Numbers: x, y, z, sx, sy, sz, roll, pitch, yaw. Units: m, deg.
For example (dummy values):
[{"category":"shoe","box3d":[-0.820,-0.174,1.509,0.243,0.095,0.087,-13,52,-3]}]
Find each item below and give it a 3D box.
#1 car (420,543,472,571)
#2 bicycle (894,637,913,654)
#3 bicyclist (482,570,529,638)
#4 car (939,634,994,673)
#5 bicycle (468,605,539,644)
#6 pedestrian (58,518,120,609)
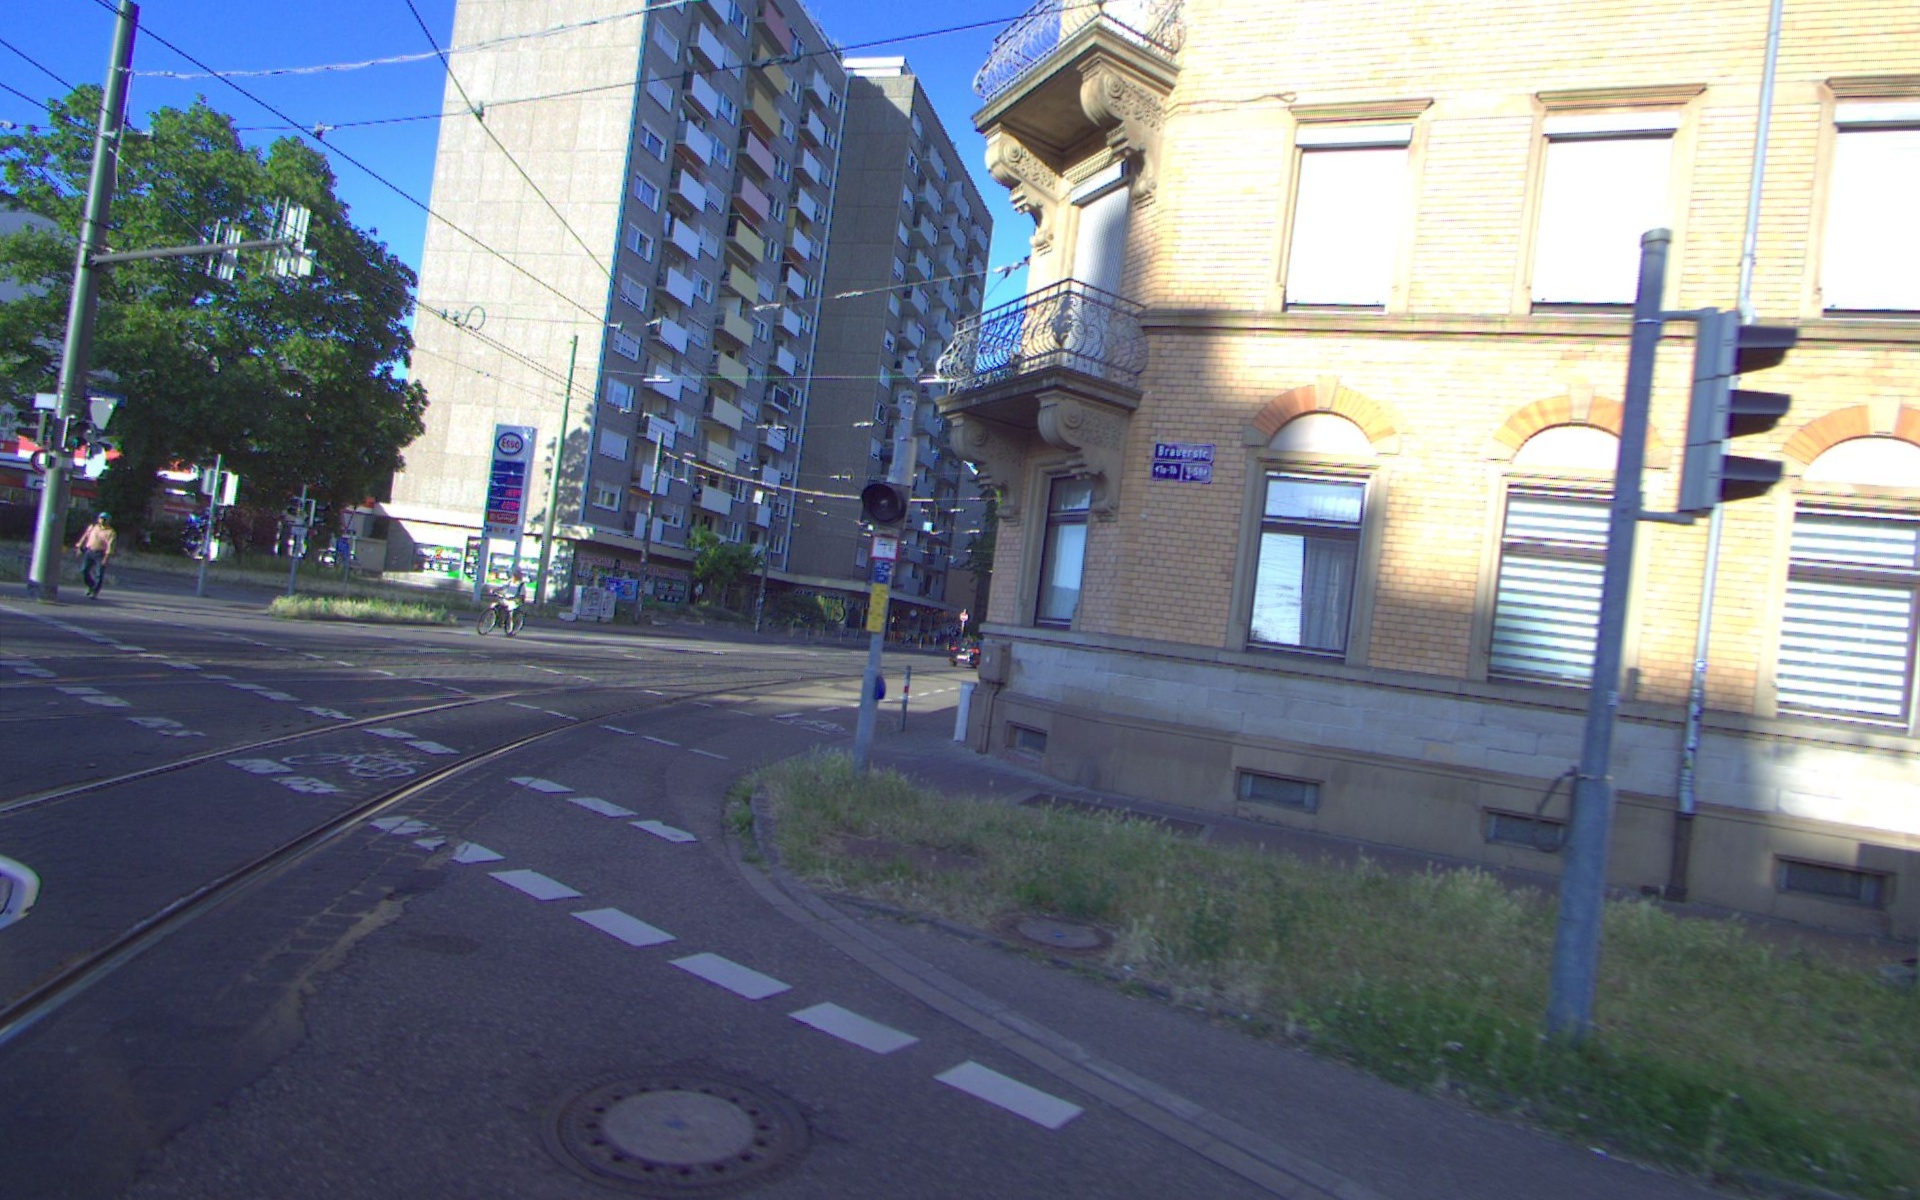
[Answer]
[{"category":"car","box3d":[-48.711,-4.078,95.334,3.924,2.037,2.002,7,-2,15]},{"category":"bicycle","box3d":[-4.080,3.288,72.748,0.549,0.991,1.725,7,-5,22]},{"category":"bicyclist","box3d":[-11.441,0.114,25.332,0.625,1.602,0.697,7,-1,12]},{"category":"car","box3d":[0.370,2.704,50.518,1.788,1.636,4.005,7,-2,13]},{"category":"bicycle","box3d":[-11.494,0.639,25.382,0.610,0.838,1.818,7,-2,11]},{"category":"pedestrian","box3d":[-16.910,-0.709,19.529,0.688,1.647,0.553,7,-1,30]}]
